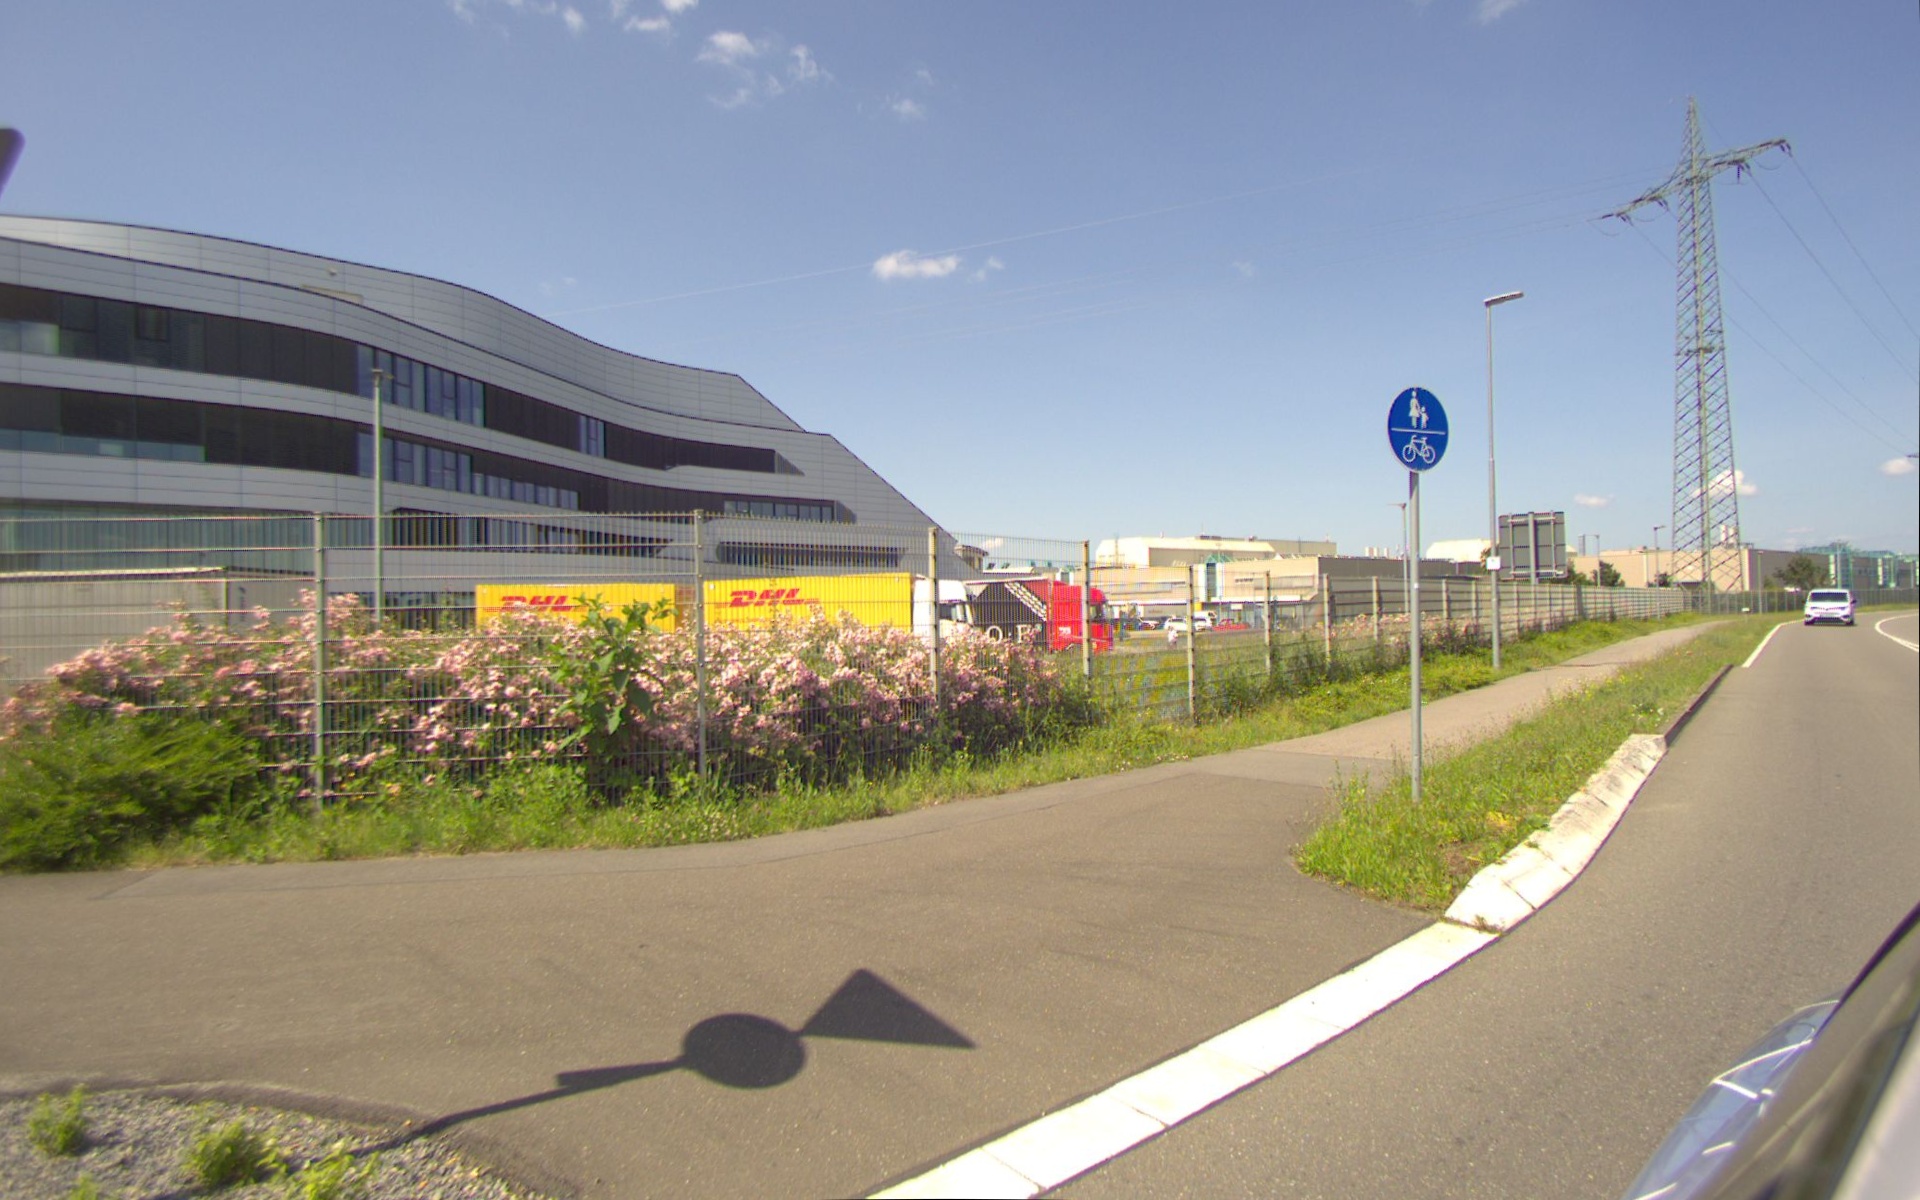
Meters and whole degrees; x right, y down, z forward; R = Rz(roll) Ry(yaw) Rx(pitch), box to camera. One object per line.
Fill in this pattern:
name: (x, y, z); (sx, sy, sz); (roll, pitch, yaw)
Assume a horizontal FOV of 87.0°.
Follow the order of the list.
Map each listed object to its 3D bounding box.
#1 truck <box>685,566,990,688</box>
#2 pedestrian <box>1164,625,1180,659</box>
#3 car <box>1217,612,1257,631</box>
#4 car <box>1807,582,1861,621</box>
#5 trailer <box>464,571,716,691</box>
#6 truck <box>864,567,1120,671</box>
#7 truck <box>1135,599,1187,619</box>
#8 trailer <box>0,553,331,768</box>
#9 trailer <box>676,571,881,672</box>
truck: (-4.442, 0.967, 37.296); (10.792, 4.225, 2.816); (-1, 0, 9)
pedestrian: (10.407, 2.057, 49.729); (0.483, 1.674, 0.565); (-3, -2, 45)
car: (24.376, 1.911, 89.147); (1.431, 1.554, 3.144); (-1, -1, -44)
car: (43.682, 0.029, 50.536); (1.832, 1.829, 4.754); (0, 1, 43)
trailer: (-13.946, 1.139, 38.521); (8.561, 4.350, 2.898); (-1, 0, 5)
truck: (1.444, 0.824, 44.135); (10.790, 4.310, 3.022); (-1, 0, 9)
truck: (36.283, 1.593, 182.128); (11.638, 3.178, 1.997); (-1, -2, -39)
trailer: (-21.844, 1.318, 23.443); (13.826, 4.493, 2.760); (-1, 0, 8)
trailer: (-8.088, 0.950, 45.626); (8.571, 4.350, 3.021); (-1, 0, 9)
